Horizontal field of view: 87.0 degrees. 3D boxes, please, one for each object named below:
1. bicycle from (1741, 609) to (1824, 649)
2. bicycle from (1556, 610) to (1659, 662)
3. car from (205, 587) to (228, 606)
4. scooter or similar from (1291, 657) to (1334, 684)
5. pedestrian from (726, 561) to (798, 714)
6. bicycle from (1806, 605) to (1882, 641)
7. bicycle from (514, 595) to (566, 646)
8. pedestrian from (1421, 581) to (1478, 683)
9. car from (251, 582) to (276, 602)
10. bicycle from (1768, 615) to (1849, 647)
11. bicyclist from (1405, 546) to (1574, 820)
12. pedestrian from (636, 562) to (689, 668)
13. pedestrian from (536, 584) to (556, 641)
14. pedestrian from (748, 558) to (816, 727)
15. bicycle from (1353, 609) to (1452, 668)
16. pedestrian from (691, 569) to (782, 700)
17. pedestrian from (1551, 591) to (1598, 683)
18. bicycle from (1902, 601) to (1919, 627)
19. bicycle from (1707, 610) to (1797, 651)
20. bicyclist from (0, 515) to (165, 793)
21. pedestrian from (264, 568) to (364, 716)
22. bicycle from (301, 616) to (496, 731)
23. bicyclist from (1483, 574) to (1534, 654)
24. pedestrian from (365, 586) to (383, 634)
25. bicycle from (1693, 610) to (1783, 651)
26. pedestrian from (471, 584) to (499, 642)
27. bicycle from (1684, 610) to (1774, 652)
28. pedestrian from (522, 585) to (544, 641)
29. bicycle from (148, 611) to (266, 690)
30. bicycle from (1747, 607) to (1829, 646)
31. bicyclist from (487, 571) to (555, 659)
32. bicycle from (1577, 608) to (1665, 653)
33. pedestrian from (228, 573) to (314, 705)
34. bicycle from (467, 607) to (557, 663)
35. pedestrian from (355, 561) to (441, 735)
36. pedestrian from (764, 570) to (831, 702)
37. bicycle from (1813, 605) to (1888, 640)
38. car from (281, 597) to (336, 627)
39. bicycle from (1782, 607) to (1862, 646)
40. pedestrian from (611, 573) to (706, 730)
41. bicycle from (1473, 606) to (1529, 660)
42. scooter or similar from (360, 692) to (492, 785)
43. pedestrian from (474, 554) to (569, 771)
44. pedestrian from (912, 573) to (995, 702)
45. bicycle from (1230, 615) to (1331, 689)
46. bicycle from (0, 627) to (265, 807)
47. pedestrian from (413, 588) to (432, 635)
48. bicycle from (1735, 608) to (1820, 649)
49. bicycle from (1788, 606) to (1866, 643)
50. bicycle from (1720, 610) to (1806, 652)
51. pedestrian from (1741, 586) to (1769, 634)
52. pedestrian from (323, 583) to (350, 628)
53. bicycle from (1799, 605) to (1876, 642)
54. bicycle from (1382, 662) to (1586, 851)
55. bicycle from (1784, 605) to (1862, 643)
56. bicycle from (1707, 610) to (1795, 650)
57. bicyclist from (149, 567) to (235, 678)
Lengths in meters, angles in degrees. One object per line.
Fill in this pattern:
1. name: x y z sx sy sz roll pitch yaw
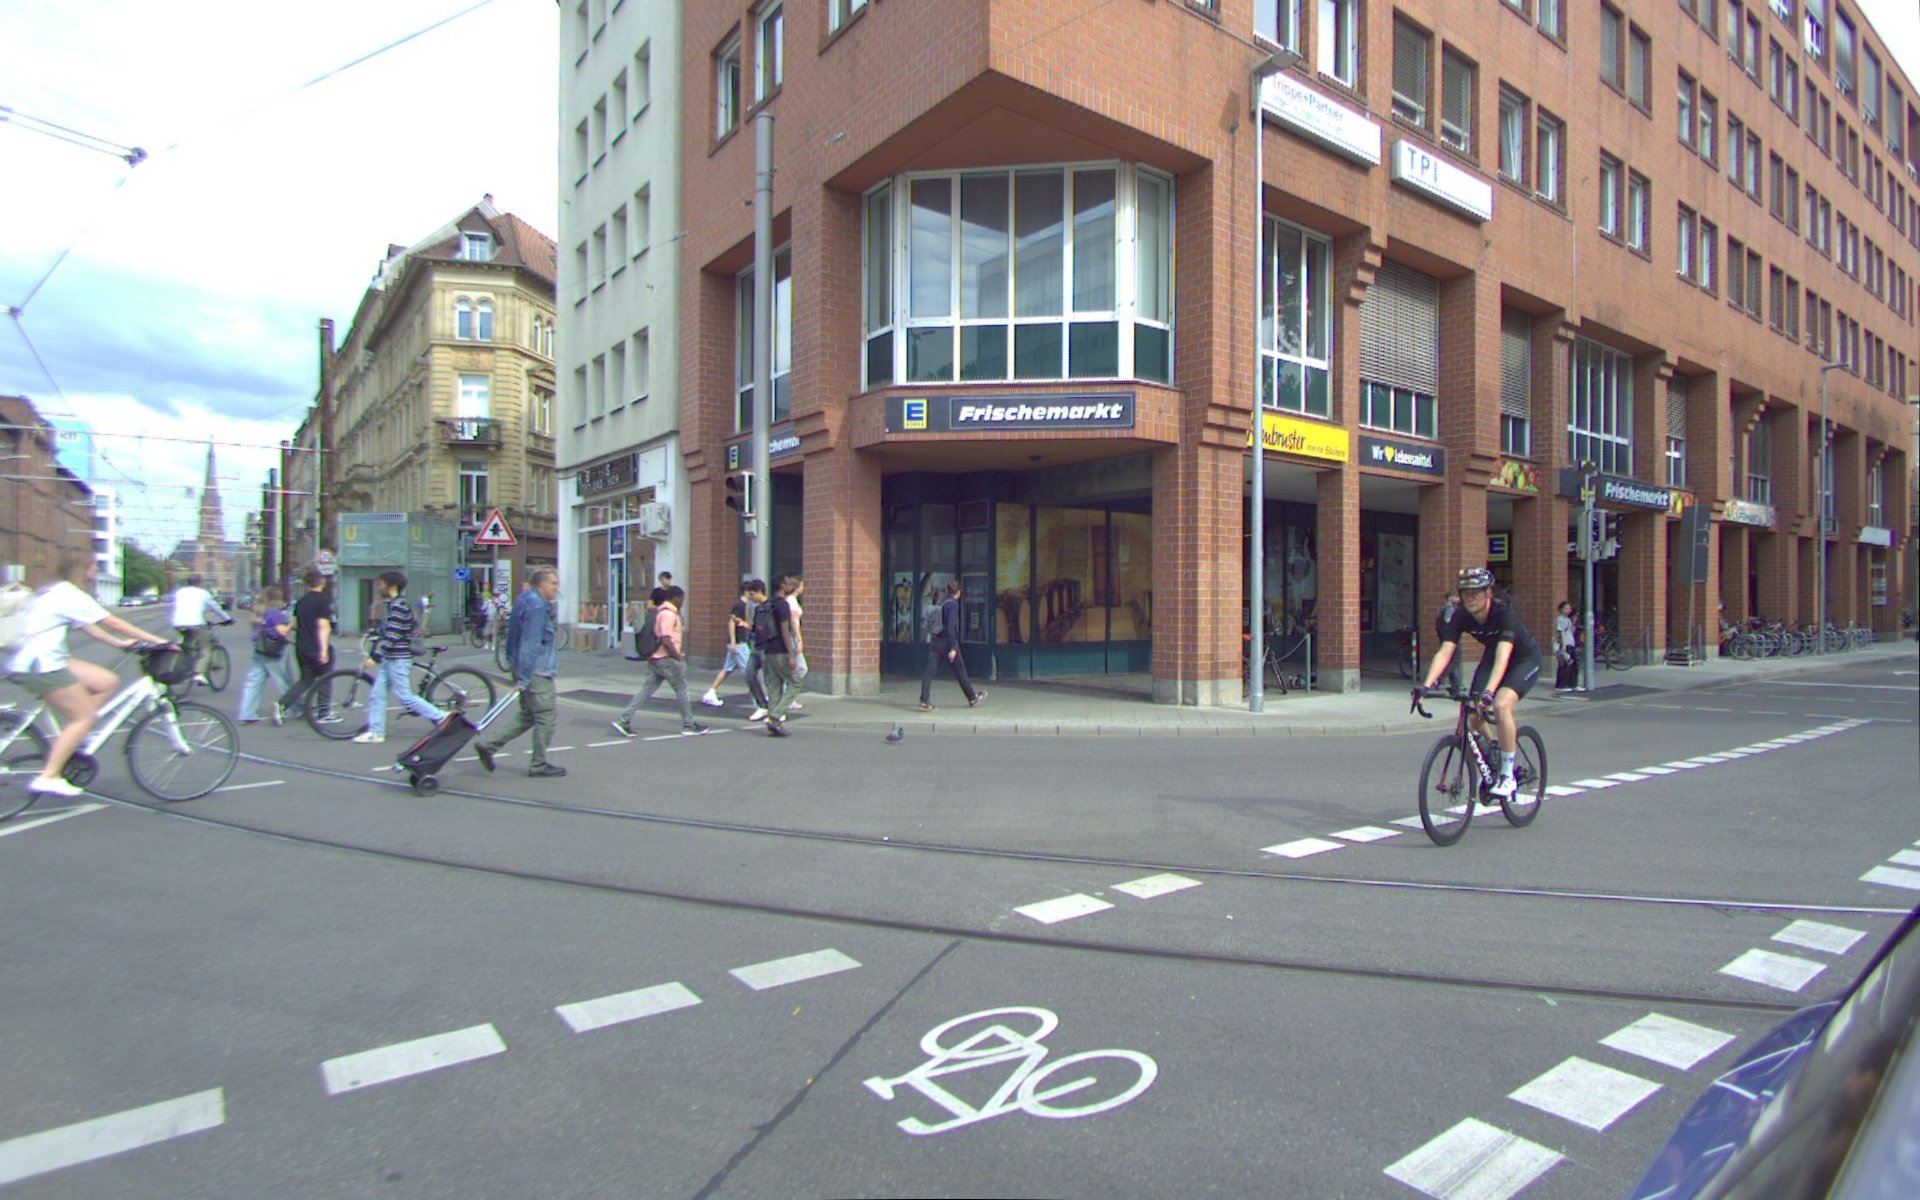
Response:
1. bicycle: 24.358 0.838 30.003 0.524 1.125 1.860 0 0 -36
2. bicycle: 14.409 0.786 22.560 1.830 1.097 0.629 1 1 4
3. car: -80.763 -0.346 109.967 1.922 1.928 3.997 0 -2 -36
4. scooter or similar: 5.990 1.189 17.185 0.875 0.424 0.263 1 -1 -39
5. pedestrian: -2.468 0.451 12.613 0.683 1.847 0.569 1 -1 -37
6. bicycle: 29.717 0.763 34.057 0.524 1.155 1.860 0 0 -36
7. bicycle: -10.504 0.501 25.261 1.801 1.219 0.534 0 -1 44
8. pedestrian: 8.444 0.526 17.470 0.685 1.717 0.647 0 1 -39
9. car: -71.387 -0.819 103.675 1.963 1.928 3.997 0 -2 -36
10. bicycle: 26.488 0.951 31.613 0.524 0.904 1.860 0 0 -36
11. bicyclist: 3.410 0.498 6.520 0.831 1.624 0.613 0 -2 -37
12. pedestrian: -5.231 0.247 17.783 0.693 1.806 0.738 0 0 -36
13. pedestrian: -12.780 0.373 31.253 0.530 1.744 0.521 0 0 -16
14. pedestrian: -1.989 0.459 11.301 0.551 1.820 0.542 1 -1 -37
15. bicycle: 8.899 0.781 20.387 1.714 1.097 0.631 1 4 -11
16. pedestrian: -3.074 0.450 13.922 1.036 1.736 0.648 0 0 -37
17. pedestrian: 11.388 0.672 18.755 0.717 1.652 0.408 0 1 -29
18. bicycle: 52.708 0.749 55.686 2.924 1.408 0.747 0 -1 -37
19. bicycle: 21.721 0.816 27.787 0.524 1.054 1.860 0 0 -36
20. bicyclist: -5.966 0.337 6.825 0.640 1.731 0.849 -1 -1 42
21. pedestrian: -7.525 0.475 11.817 0.693 1.669 0.721 0 -1 1
22. bicycle: -5.985 0.748 10.848 1.796 1.124 0.398 0 -1 -36
23. bicyclist: 12.658 0.317 23.369 0.752 1.801 0.621 1 2 3
24. pedestrian: -20.881 0.352 36.062 0.505 1.706 0.424 1 -1 -35
25. bicycle: 21.112 0.812 27.501 0.524 1.054 1.860 0 0 -36
26. pedestrian: -13.783 0.376 29.341 0.702 1.648 0.794 0 -1 -27
27. bicycle: 20.583 0.808 27.132 0.498 1.054 1.860 0 0 -36
28. pedestrian: -13.390 0.402 31.712 0.579 1.744 0.521 0 0 -16
29. bicycle: -11.355 0.721 15.336 0.384 1.101 1.920 0 0 -1
30. bicycle: 24.949 0.782 30.522 0.524 1.125 1.860 0 0 -36
31. bicyclist: -8.141 0.266 18.800 0.735 1.578 0.942 0 -1 15
32. bicycle: 16.704 0.765 25.581 1.830 1.097 0.485 1 1 4
33. pedestrian: -8.197 0.457 12.060 0.582 1.530 0.629 0 -1 1
34. bicycle: -8.264 0.623 18.742 0.535 0.962 1.799 0 0 14
35. pedestrian: -5.770 0.472 10.391 0.712 1.707 0.521 0 -1 -36
36. pedestrian: -2.191 0.463 13.654 0.639 1.709 0.648 -1 0 -37
37. bicycle: 30.397 0.760 34.581 0.524 1.155 1.860 0 0 -36
38. car: -29.670 0.498 46.057 1.803 1.282 4.151 0 0 -37
39. bicycle: 27.372 0.827 32.174 0.524 1.155 1.860 0 0 -36
40. pedestrian: -3.358 0.548 11.274 0.876 1.672 0.542 1 -1 -37
41. bicycle: 12.414 0.740 23.193 0.628 1.097 1.722 5 5 44
42. scooter or similar: -4.111 1.047 7.802 0.802 0.581 0.507 0 0 -44
43. pedestrian: -3.653 0.493 8.426 0.589 1.709 0.640 1 -1 -37
44. pedestrian: -0.086 0.474 13.233 0.905 1.621 0.620 0 -1 -37
45. bicycle: 5.097 0.823 16.074 1.665 1.105 0.568 2 1 -33
46. bicycle: -5.988 0.756 6.860 0.390 1.136 2.046 -1 -2 40
47. pedestrian: -19.409 0.414 36.521 0.416 1.706 0.515 0 -1 -3
48. bicycle: 23.822 0.822 29.535 0.524 1.125 1.860 0 0 -36
49. bicycle: 28.260 0.776 33.006 0.524 1.155 1.860 0 0 -36
50. bicycle: 23.053 0.876 29.089 0.524 1.125 1.860 0 0 -36
51. pedestrian: 29.934 0.373 38.098 0.766 1.799 0.615 0 -1 -36
52. pedestrian: -24.429 0.208 39.651 0.593 1.706 0.735 -3 0 -13
53. bicycle: 29.251 0.767 33.761 0.524 1.155 1.860 0 0 -36
54. bicycle: 3.424 0.945 6.546 1.715 1.013 0.489 1 -1 -37
55. bicycle: 27.826 0.769 32.656 0.524 1.155 1.860 0 0 -36
56. bicycle: 22.139 0.833 28.353 0.524 1.054 1.860 0 0 -36
57. bicyclist: -11.491 0.329 15.163 0.630 1.623 0.863 0 -1 -1
